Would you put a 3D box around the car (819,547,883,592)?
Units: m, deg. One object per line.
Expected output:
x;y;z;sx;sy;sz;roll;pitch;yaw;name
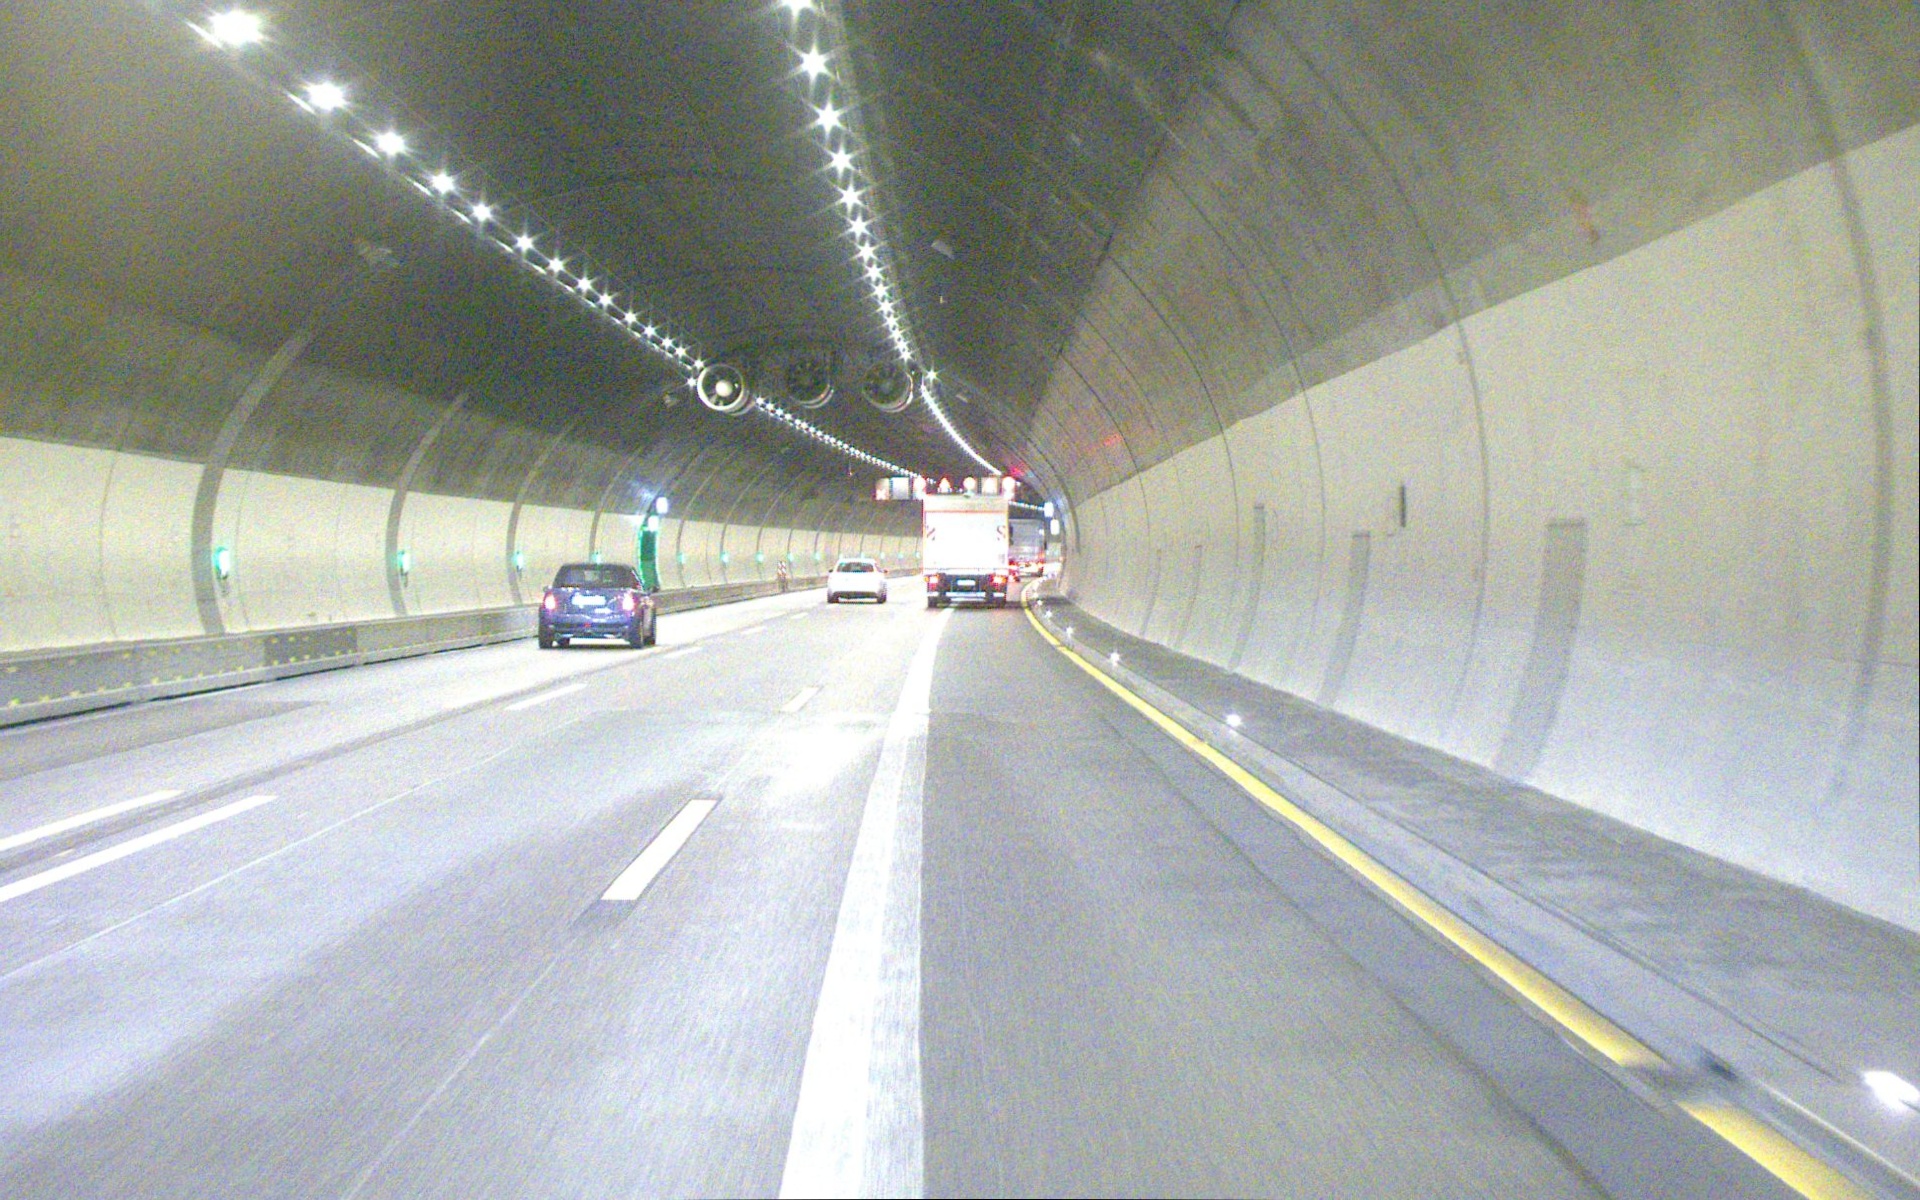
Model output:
-3.563;-1.026;113.371;1.993;1.408;4.743;0;1;-1;car

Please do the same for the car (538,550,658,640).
-5.971;-0.107;57.030;1.689;1.412;3.923;0;1;-2;car

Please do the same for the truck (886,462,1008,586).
-0.392;-2.354;106.781;3.592;3.638;10.723;0;1;0;truck
